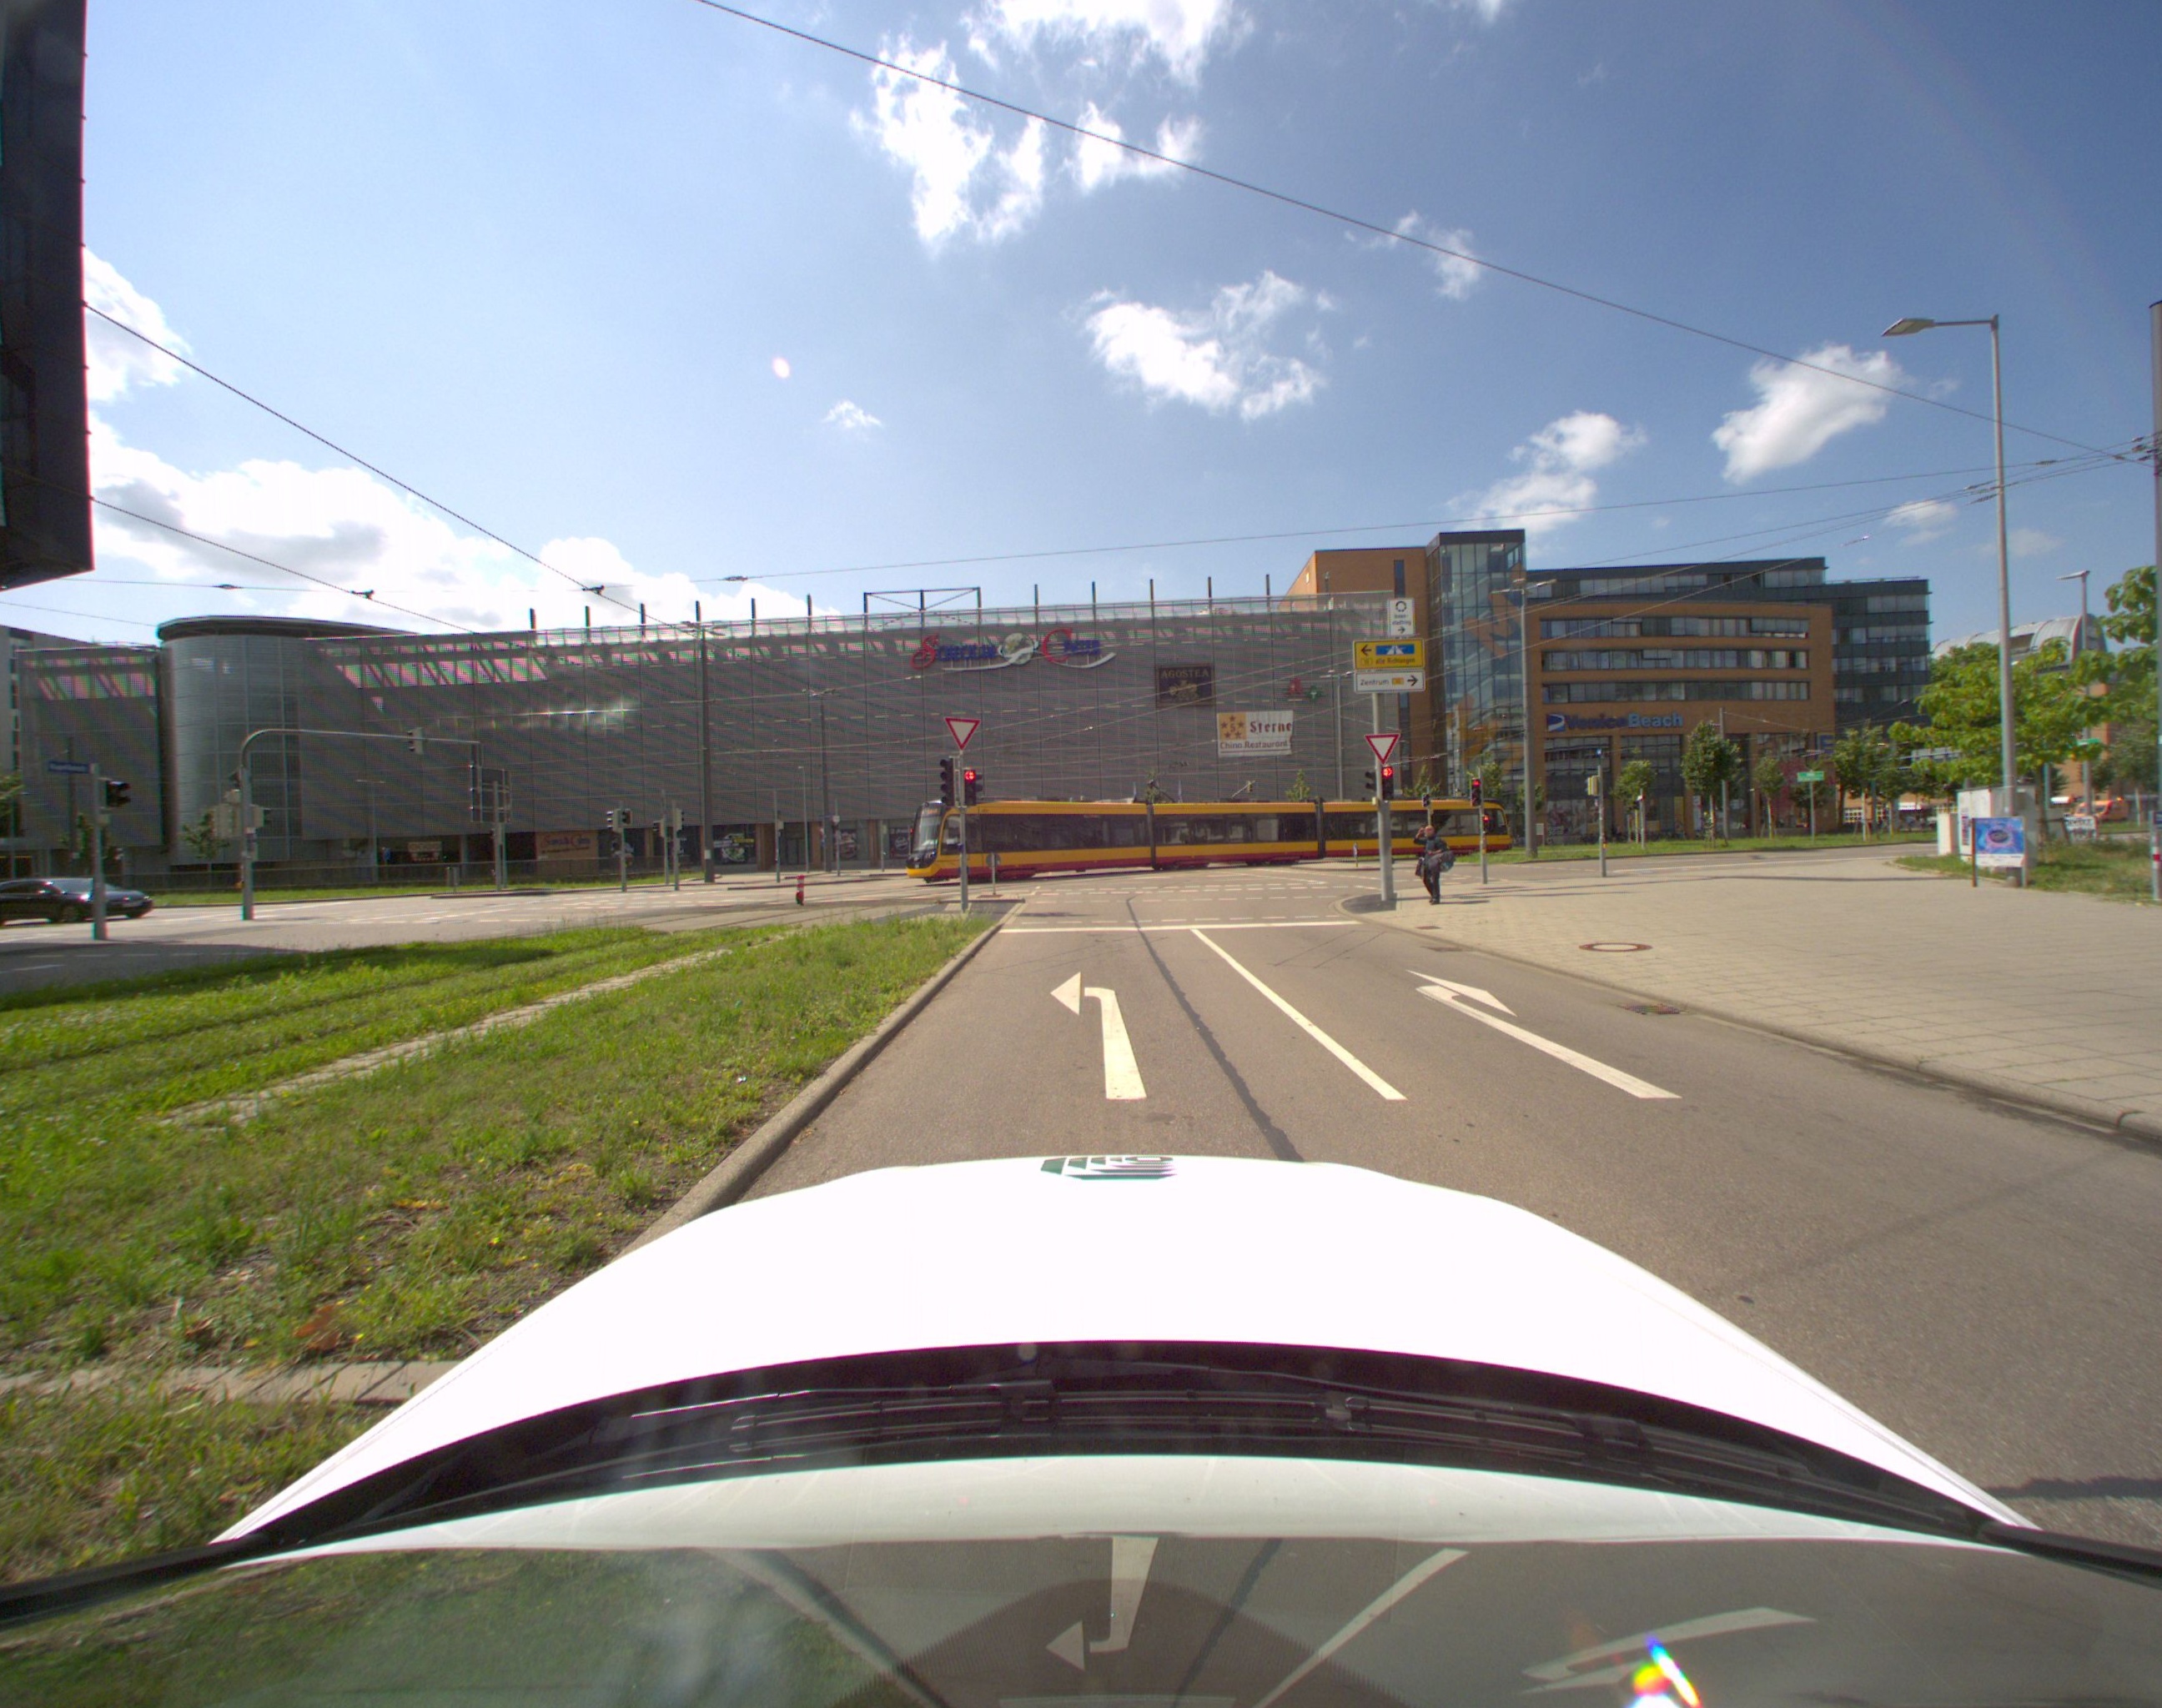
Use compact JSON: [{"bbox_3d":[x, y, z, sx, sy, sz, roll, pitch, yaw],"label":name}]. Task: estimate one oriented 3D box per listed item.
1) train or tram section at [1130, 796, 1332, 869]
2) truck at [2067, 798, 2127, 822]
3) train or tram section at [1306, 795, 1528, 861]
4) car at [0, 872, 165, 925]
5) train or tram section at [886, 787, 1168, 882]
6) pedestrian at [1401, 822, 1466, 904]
[{"bbox_3d":[8.191,-1.215,43.911,11.011,3.603,3.040,-1,1,-25],"label":"train or tram section"},{"bbox_3d":[93.694,-4.067,75.090,5.527,2.085,1.986,-1,1,-22],"label":"truck"},{"bbox_3d":[19.676,-1.551,47.738,12.605,3.620,3.052,-1,1,-13],"label":"train or tram section"},{"bbox_3d":[-32.799,1.434,26.438,4.082,1.469,1.829,-2,1,2],"label":"car"},{"bbox_3d":[-1.824,-0.890,36.601,13.575,3.599,3.188,-2,1,-42],"label":"train or tram section"},{"bbox_3d":[7.600,0.190,17.593,0.810,1.702,0.910,-3,0,-27],"label":"pedestrian"}]
